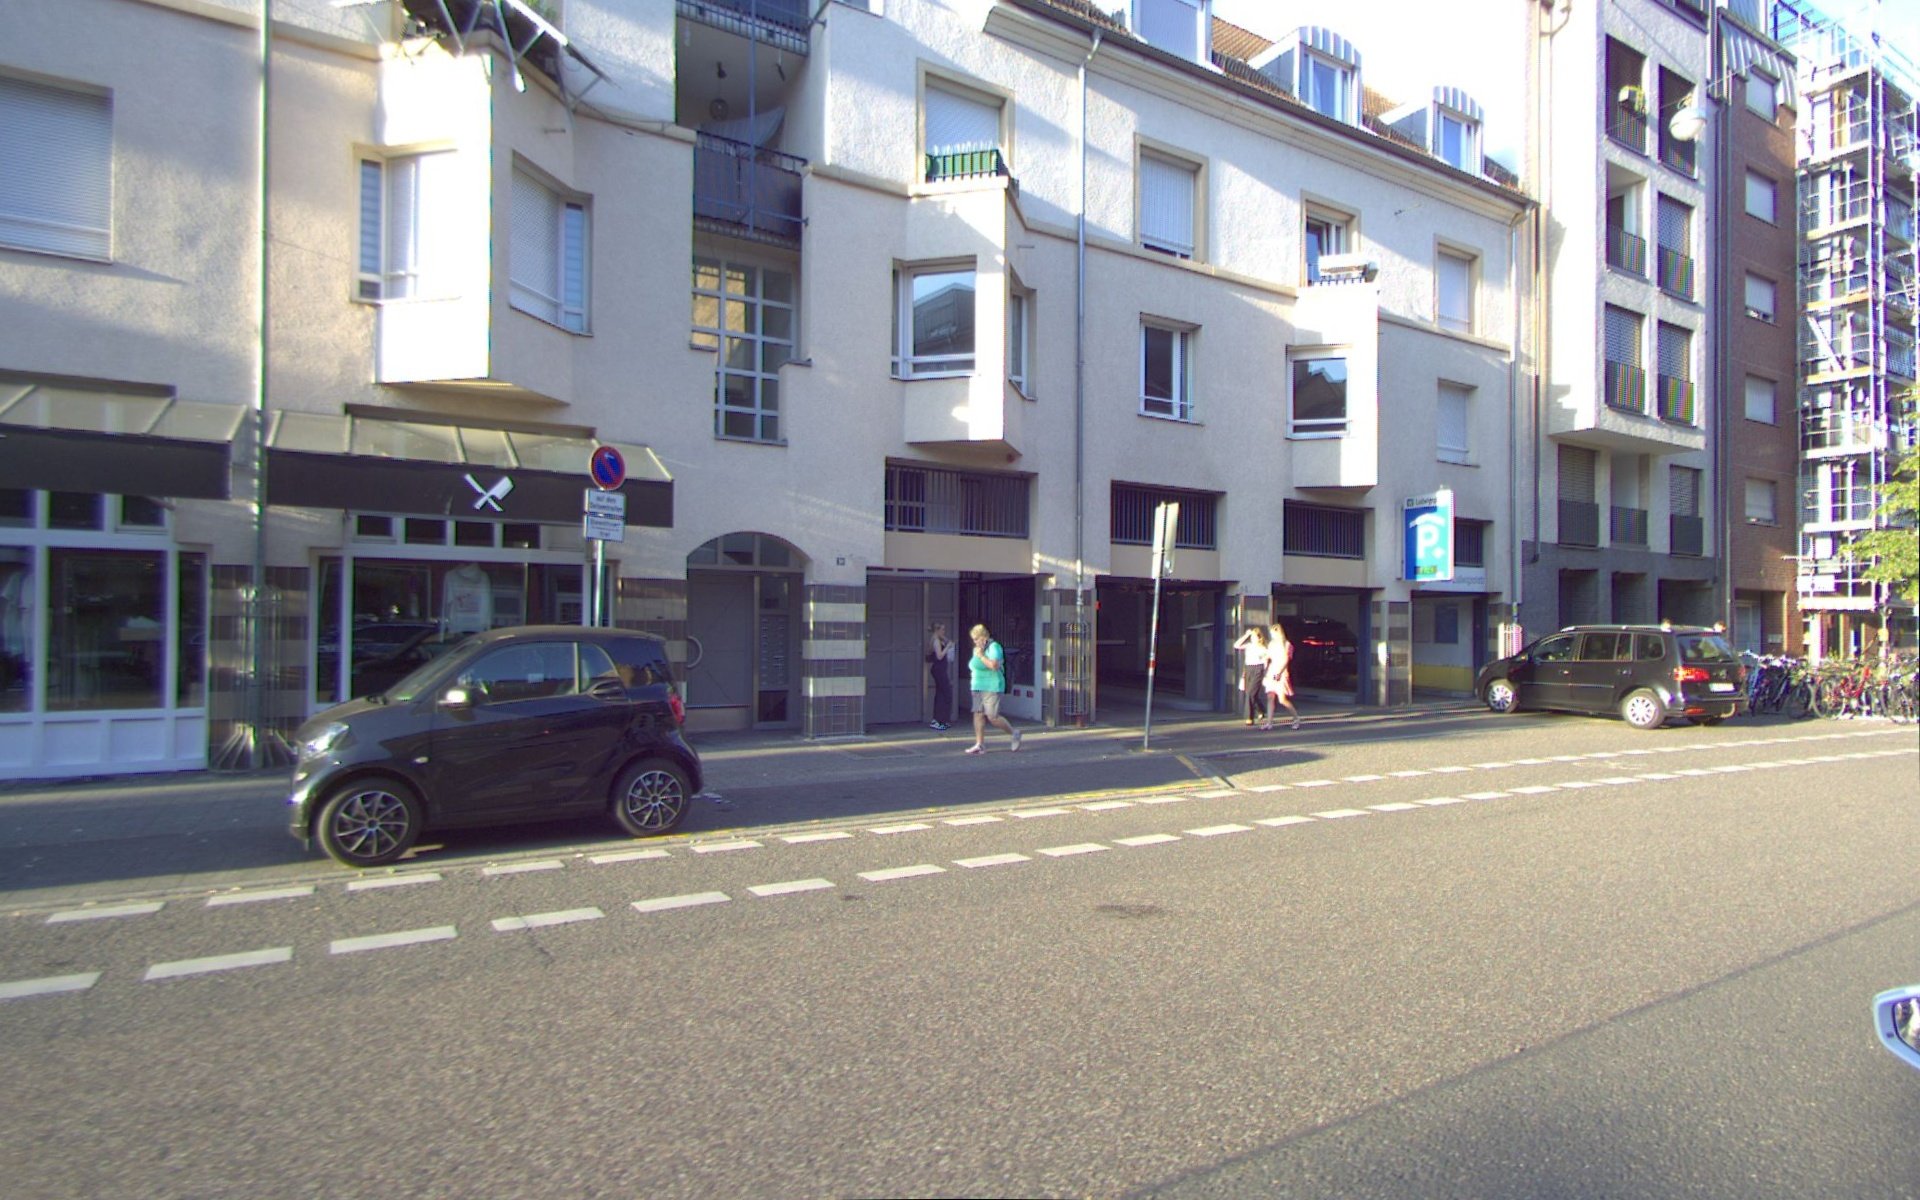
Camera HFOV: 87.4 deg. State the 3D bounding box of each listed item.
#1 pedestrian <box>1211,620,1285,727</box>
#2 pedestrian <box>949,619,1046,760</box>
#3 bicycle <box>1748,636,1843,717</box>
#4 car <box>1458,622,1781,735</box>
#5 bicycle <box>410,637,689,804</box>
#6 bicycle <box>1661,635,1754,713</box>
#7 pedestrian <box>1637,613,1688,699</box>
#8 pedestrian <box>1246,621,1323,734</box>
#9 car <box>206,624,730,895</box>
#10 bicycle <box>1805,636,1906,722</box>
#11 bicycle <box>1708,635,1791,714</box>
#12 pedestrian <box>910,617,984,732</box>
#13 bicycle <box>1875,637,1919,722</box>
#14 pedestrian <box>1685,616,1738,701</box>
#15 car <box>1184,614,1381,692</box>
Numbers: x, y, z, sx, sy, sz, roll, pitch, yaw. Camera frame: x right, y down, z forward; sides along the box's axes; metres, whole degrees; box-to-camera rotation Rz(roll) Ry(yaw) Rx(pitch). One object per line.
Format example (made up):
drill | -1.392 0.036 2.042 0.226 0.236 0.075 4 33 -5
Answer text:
pedestrian | 4.622 1.161 16.129 0.844 1.663 0.714 2 0 -26
pedestrian | 0.467 1.087 12.514 0.941 1.663 0.712 2 0 -33
bicycle | 15.711 1.386 18.851 3.116 1.391 0.774 2 0 -39
car | 11.404 1.265 17.788 1.970 1.623 4.488 2 0 -21
bicycle | -3.802 1.065 9.415 2.332 1.393 0.607 2 0 -31
bicycle | 14.851 1.429 19.917 3.126 1.414 0.715 2 0 -39
pedestrian | 15.092 1.181 21.581 0.688 1.790 0.711 2 0 -38
pedestrian | 4.990 1.168 15.455 0.844 1.663 0.714 2 0 -26
car | -3.530 0.967 7.452 3.155 1.555 1.781 1 -1 -33
bicycle | 16.243 1.379 18.185 3.139 1.414 0.885 2 -1 -39
bicycle | 15.270 1.394 19.391 3.134 1.414 0.580 2 0 -39
pedestrian | -0.197 1.082 14.960 0.844 1.637 0.714 2 0 -28
bicycle | 16.794 1.345 17.483 3.160 1.368 0.838 2 -2 -39
pedestrian | 16.006 1.228 21.392 0.732 1.763 0.711 2 0 -38
car | 7.705 1.219 24.452 1.974 1.623 4.478 2 0 -27
